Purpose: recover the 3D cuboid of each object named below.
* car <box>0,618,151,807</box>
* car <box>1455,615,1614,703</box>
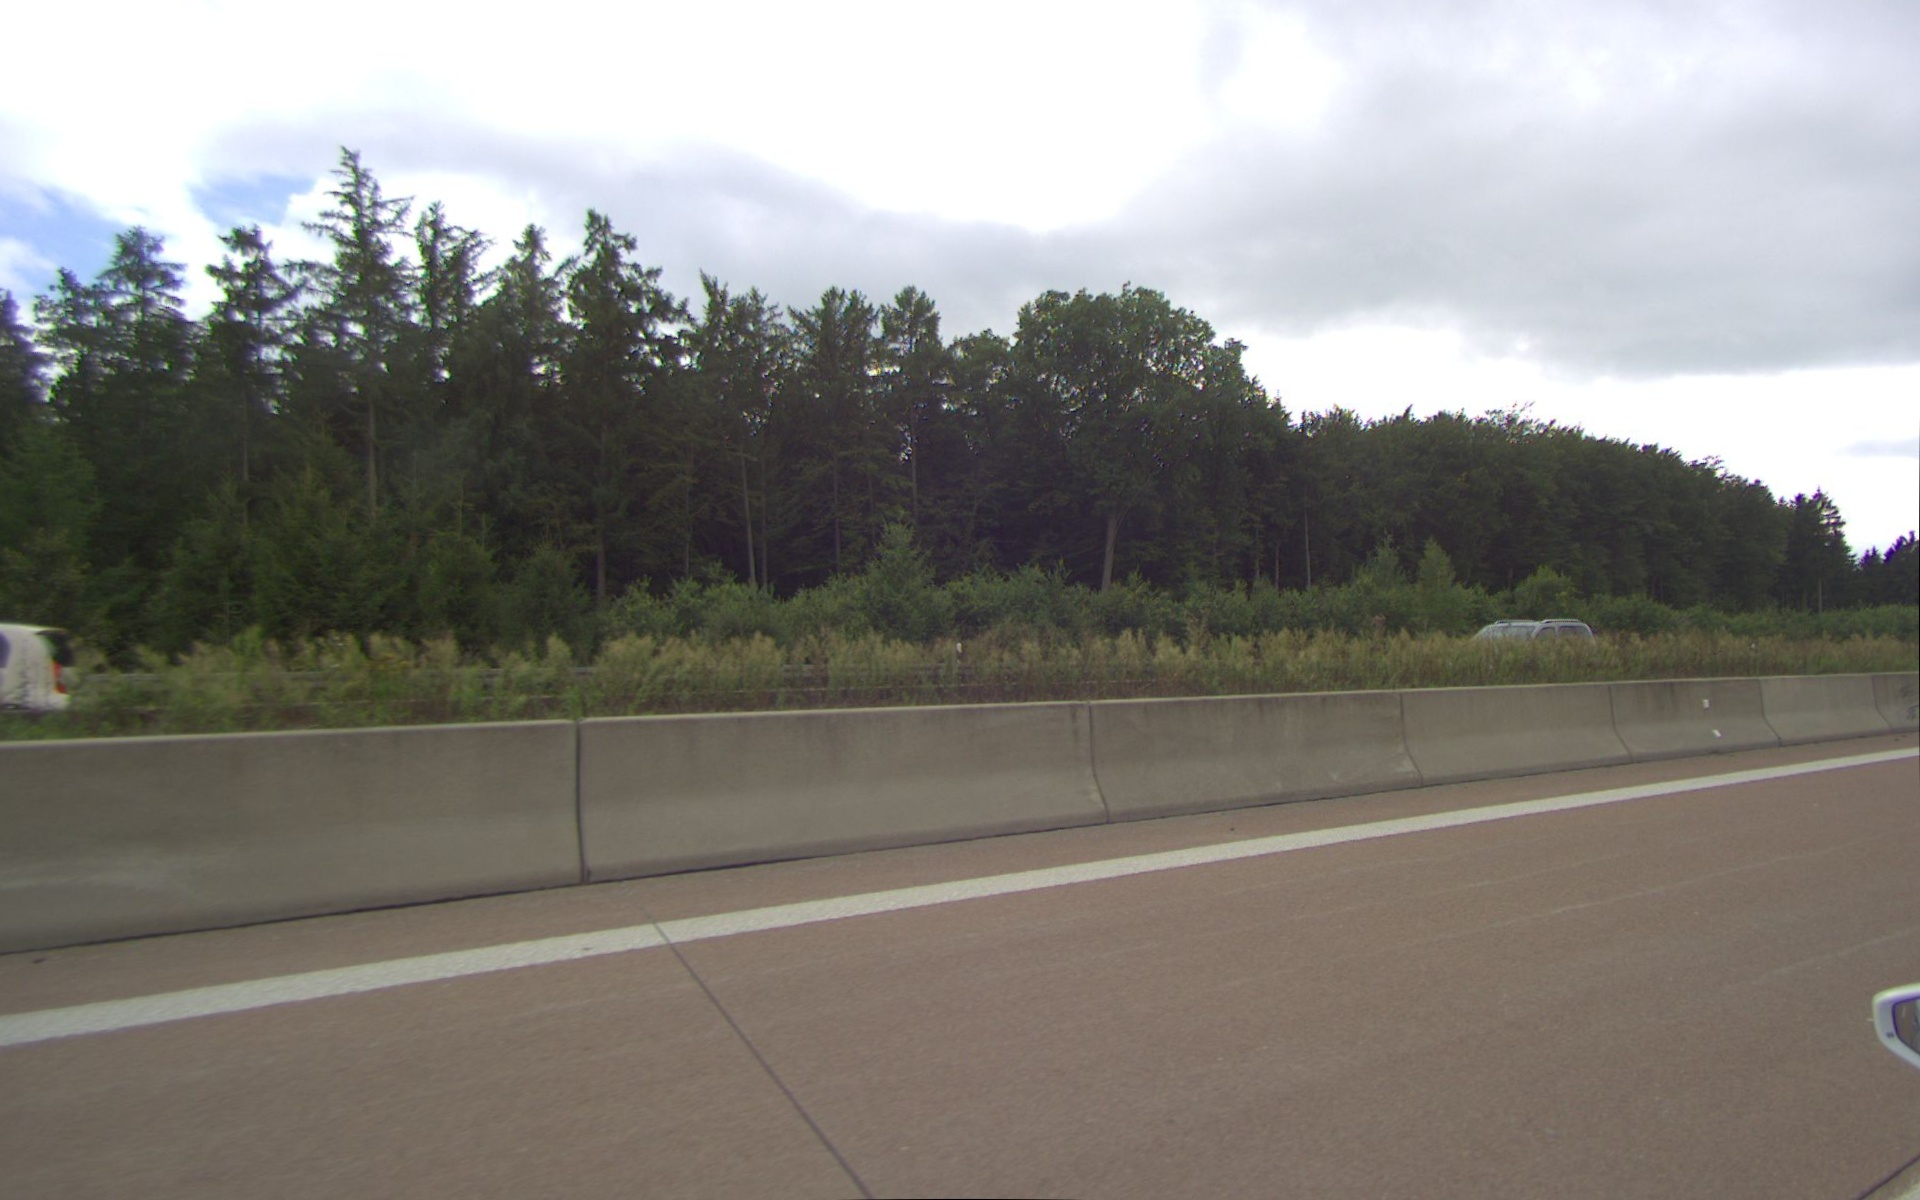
[{"bbox_3d":[-10.726,1.104,10.141,3.709,1.796,1.775,1,0,-30],"label":"car"},{"bbox_3d":[14.498,1.445,25.316,3.953,2.007,1.664,1,1,-30],"label":"car"}]
